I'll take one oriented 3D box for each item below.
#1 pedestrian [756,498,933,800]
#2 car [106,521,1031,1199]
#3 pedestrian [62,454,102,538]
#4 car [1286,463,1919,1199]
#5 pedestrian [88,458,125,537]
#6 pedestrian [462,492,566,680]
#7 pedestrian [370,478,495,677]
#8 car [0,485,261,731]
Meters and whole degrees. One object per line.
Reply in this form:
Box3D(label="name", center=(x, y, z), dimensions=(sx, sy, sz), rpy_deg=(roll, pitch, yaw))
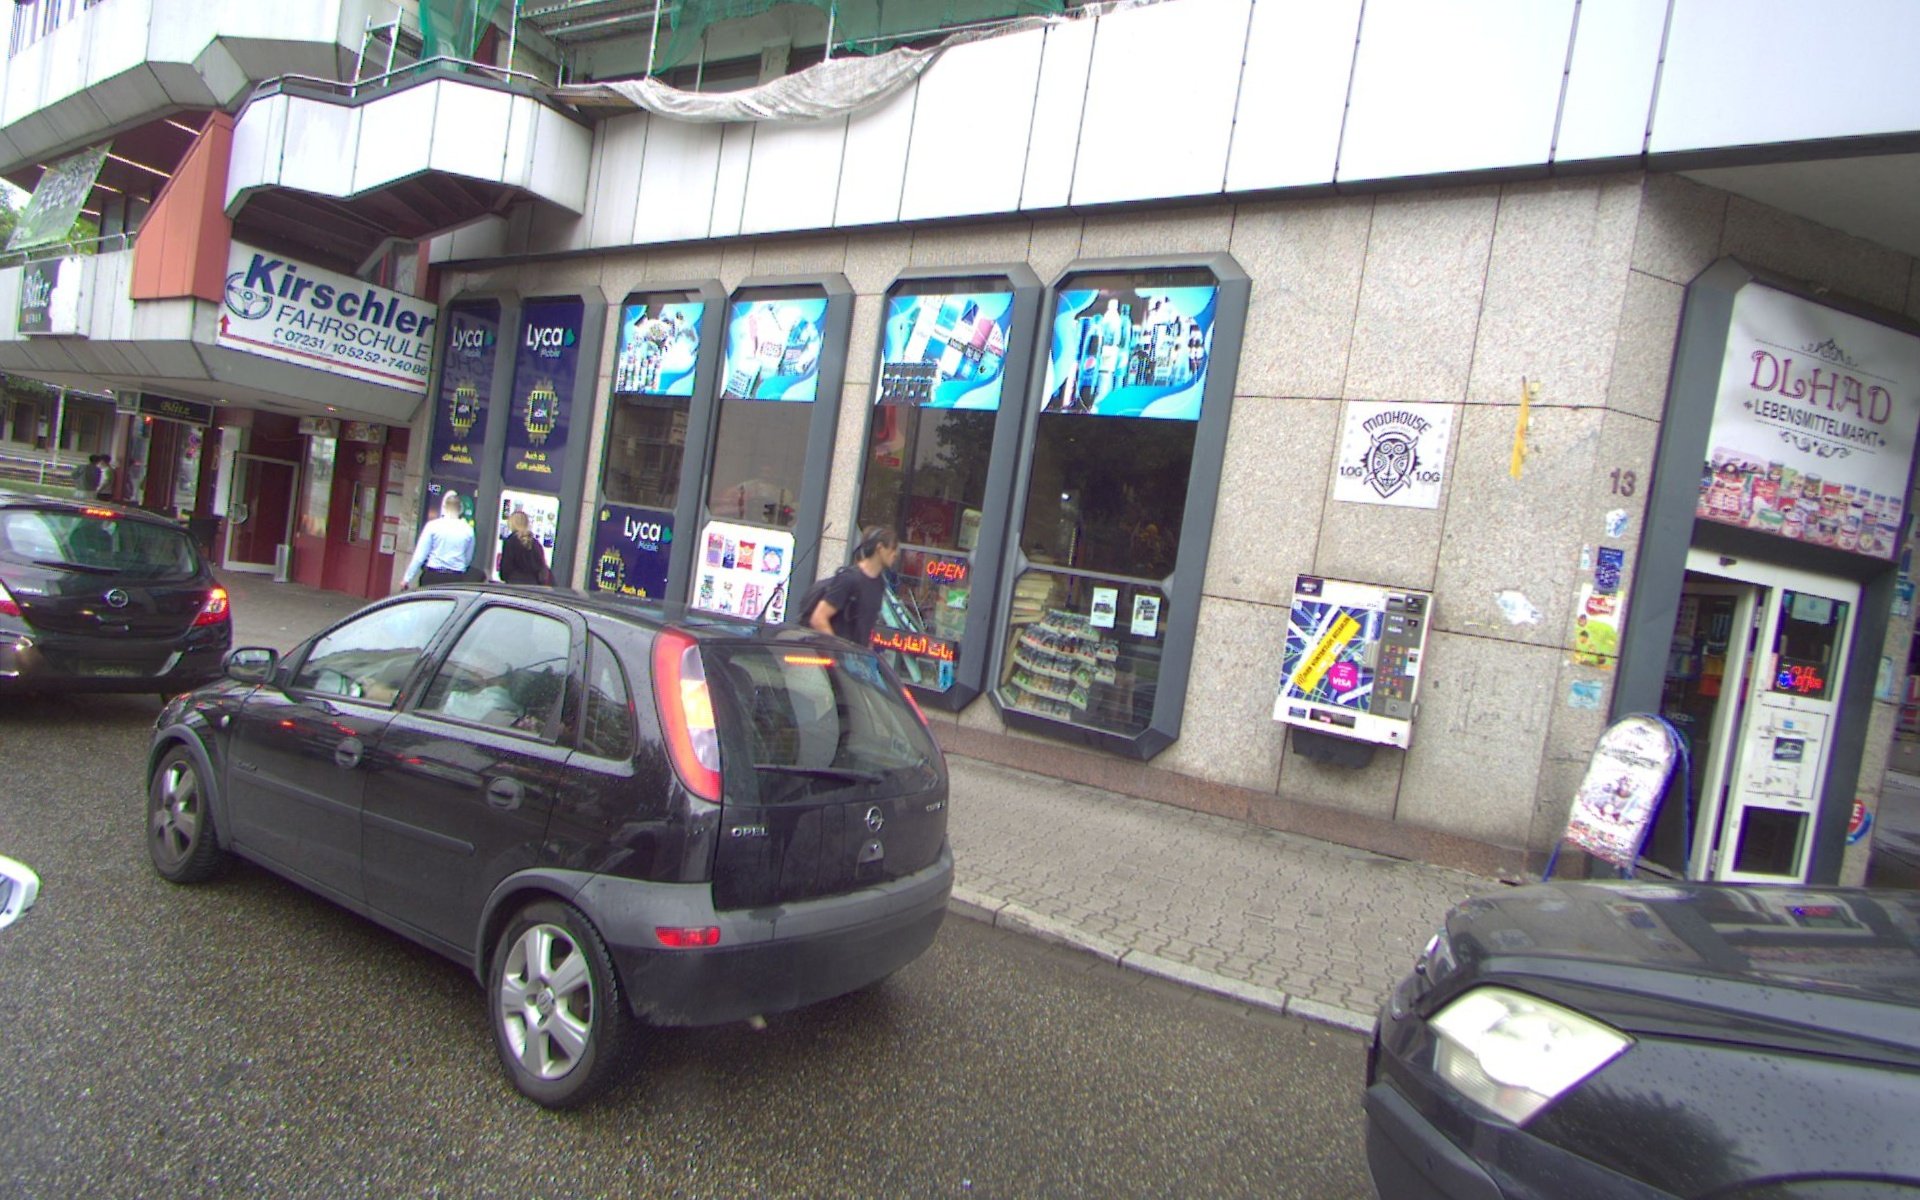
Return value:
Box3D(label="pedestrian", center=(-0.766, 0.289, 6.639), dimensions=(0.763, 1.841, 0.739), rpy_deg=(7, 4, 43))
Box3D(label="car", center=(-1.733, 0.649, 4.100), dimensions=(3.563, 1.446, 1.609), rpy_deg=(8, -1, 33))
Box3D(label="pedestrian", center=(-18.663, -2.206, 21.387), dimensions=(0.443, 1.704, 0.426), rpy_deg=(6, 1, 30))
Box3D(label="car", center=(2.806, 0.957, 1.437), dimensions=(4.095, 1.786, 1.763), rpy_deg=(8, -1, 32))
Box3D(label="pedestrian", center=(-18.649, -2.230, 21.991), dimensions=(0.496, 1.660, 0.396), rpy_deg=(6, 1, 32))
Box3D(label="pedestrian", center=(-4.886, -0.152, 11.034), dimensions=(0.629, 1.961, 0.736), rpy_deg=(6, 4, 31))
Box3D(label="pedestrian", center=(-5.493, -0.224, 10.494), dimensions=(0.629, 1.957, 0.737), rpy_deg=(6, -1, 31))
Box3D(label="car", center=(-7.076, -0.111, 7.343), dimensions=(3.776, 1.446, 1.620), rpy_deg=(8, -1, 29))
